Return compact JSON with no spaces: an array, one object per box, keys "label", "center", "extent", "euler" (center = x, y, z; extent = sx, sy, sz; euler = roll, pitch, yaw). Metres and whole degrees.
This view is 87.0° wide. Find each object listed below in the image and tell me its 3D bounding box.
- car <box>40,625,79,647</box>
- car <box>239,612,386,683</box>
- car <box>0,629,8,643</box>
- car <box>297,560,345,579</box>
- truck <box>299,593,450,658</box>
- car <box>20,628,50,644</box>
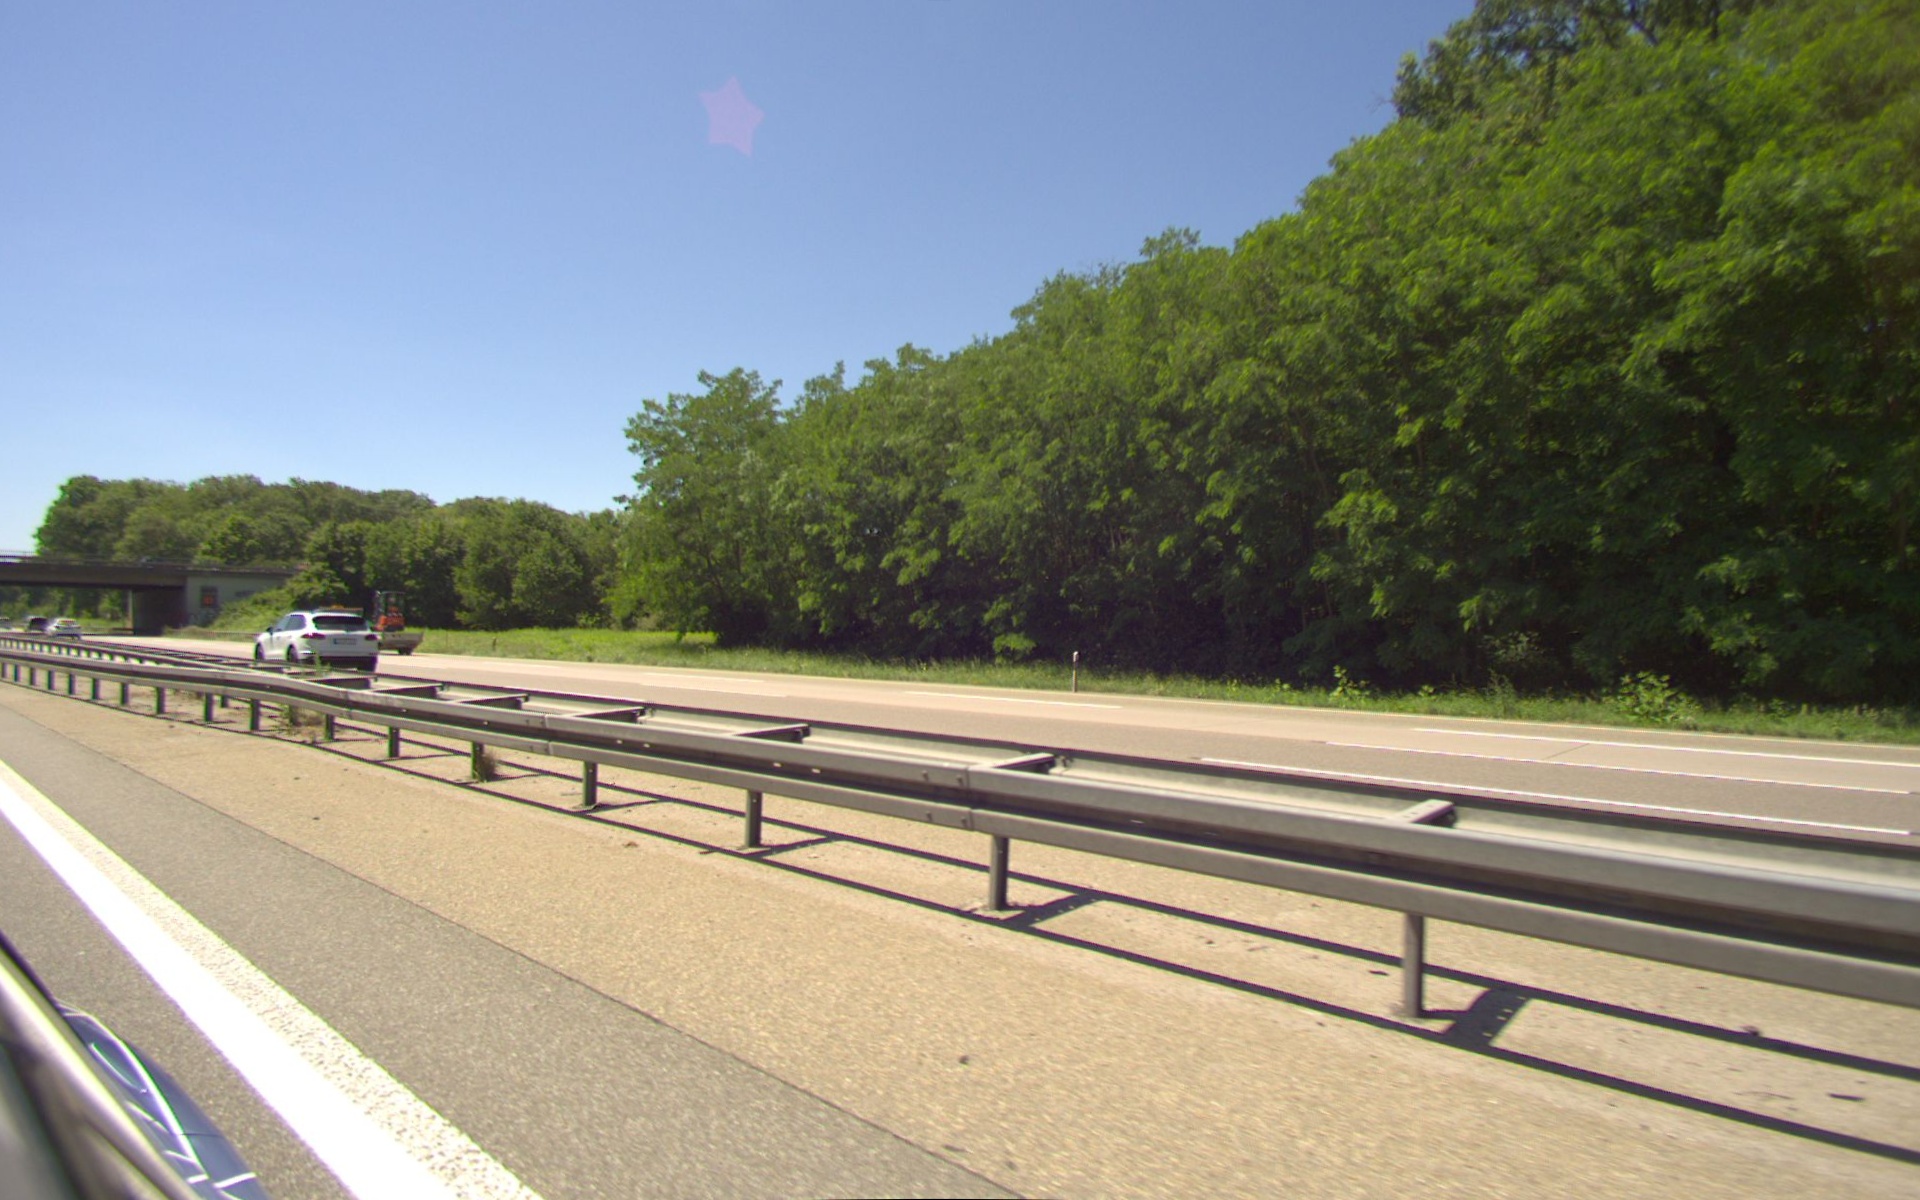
[{"label":"car","center":[-67.071,2.654,75.336],"extent":[4.202,1.556,1.671],"euler":[-1,0,41]},{"label":"car","center":[-17.756,1.273,27.641],"extent":[5.262,1.719,1.973],"euler":[-2,-1,41]},{"label":"car","center":[-126.365,4.658,132.671],"extent":[4.932,1.819,1.722],"euler":[-1,-3,41]},{"label":"car","center":[-71.908,-3.413,113.964],"extent":[1.997,2.029,4.106],"euler":[-1,0,38]},{"label":"truck","center":[-30.407,1.283,52.128],"extent":[12.849,3.013,2.724],"euler":[-1,-2,41]},{"label":"car","center":[-105.119,4.072,114.984],"extent":[5.081,1.776,1.723],"euler":[-1,-3,39]}]
